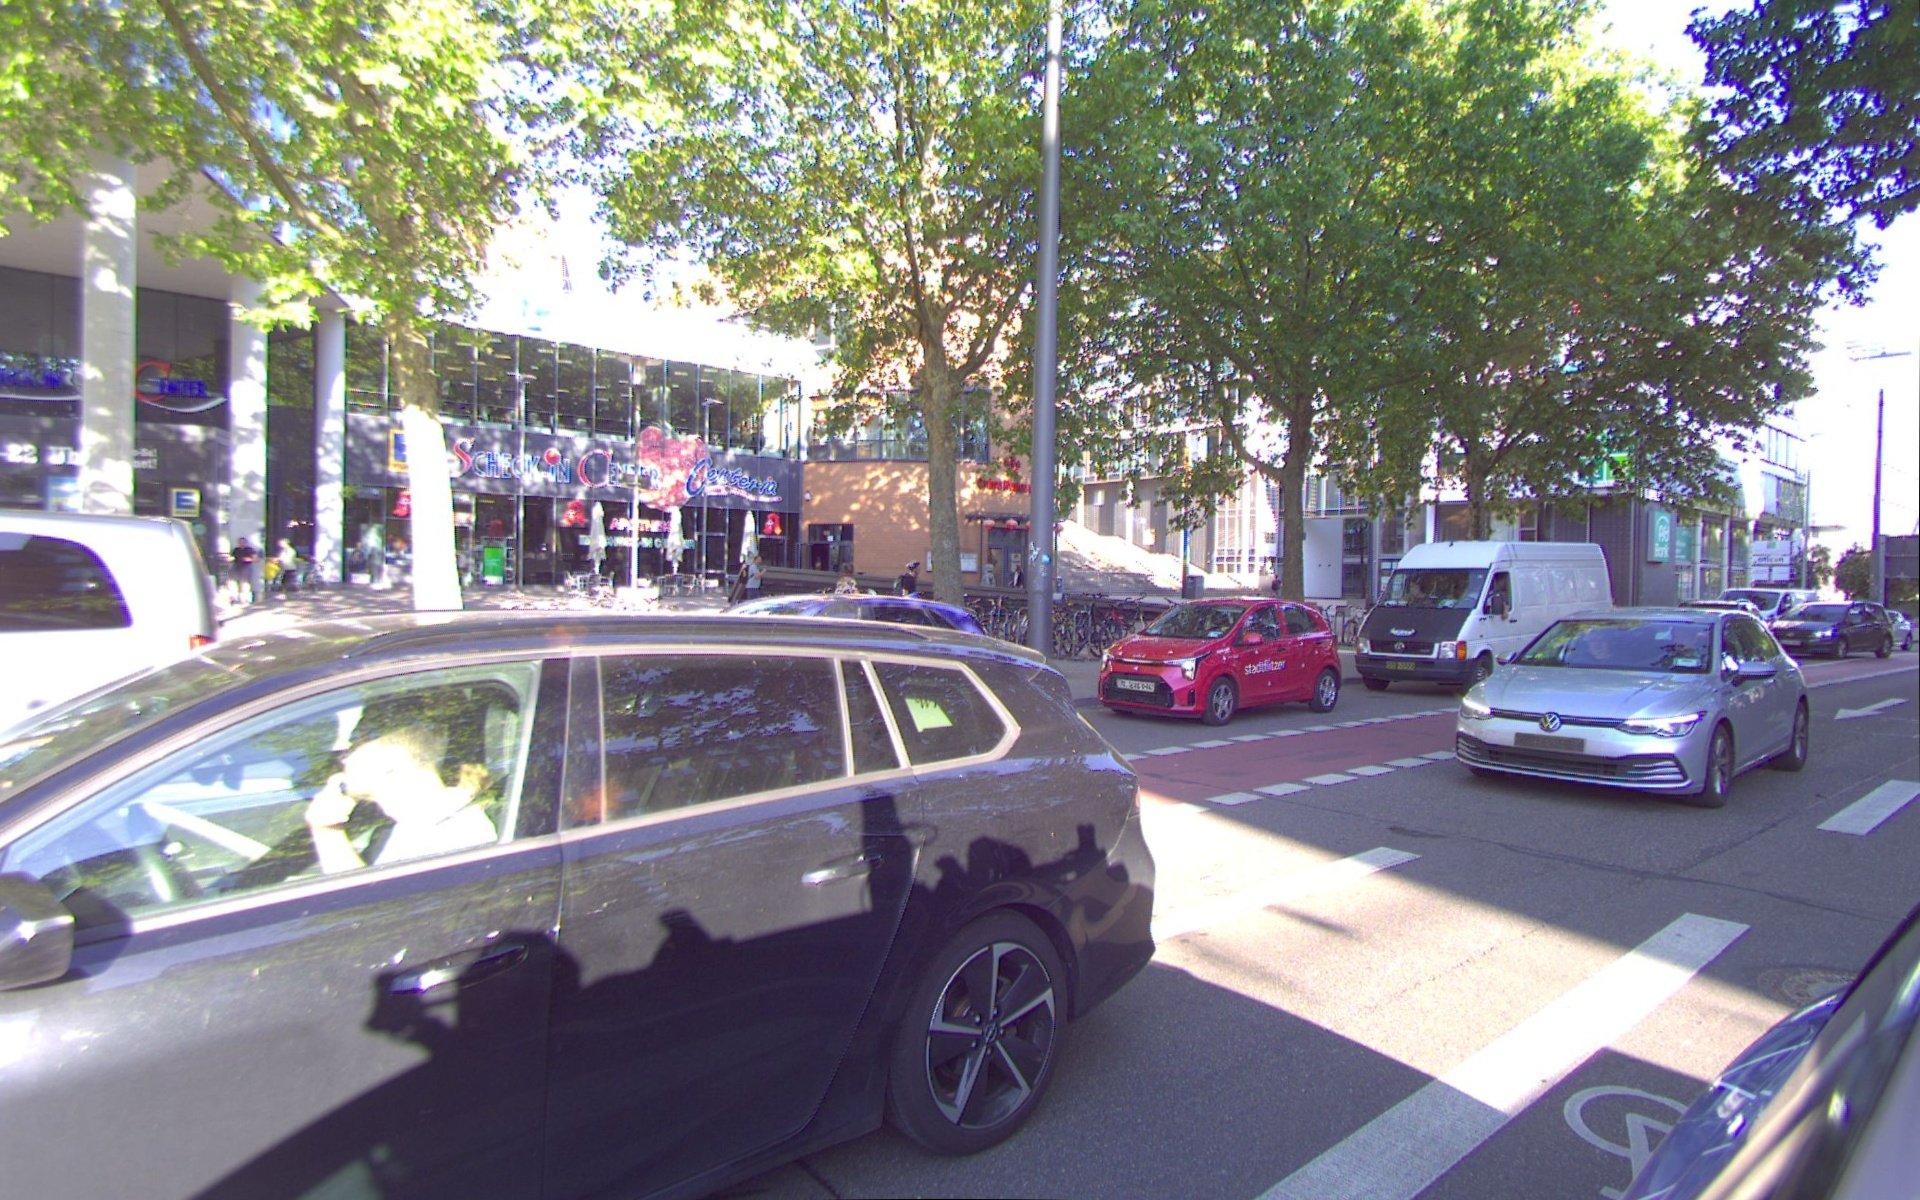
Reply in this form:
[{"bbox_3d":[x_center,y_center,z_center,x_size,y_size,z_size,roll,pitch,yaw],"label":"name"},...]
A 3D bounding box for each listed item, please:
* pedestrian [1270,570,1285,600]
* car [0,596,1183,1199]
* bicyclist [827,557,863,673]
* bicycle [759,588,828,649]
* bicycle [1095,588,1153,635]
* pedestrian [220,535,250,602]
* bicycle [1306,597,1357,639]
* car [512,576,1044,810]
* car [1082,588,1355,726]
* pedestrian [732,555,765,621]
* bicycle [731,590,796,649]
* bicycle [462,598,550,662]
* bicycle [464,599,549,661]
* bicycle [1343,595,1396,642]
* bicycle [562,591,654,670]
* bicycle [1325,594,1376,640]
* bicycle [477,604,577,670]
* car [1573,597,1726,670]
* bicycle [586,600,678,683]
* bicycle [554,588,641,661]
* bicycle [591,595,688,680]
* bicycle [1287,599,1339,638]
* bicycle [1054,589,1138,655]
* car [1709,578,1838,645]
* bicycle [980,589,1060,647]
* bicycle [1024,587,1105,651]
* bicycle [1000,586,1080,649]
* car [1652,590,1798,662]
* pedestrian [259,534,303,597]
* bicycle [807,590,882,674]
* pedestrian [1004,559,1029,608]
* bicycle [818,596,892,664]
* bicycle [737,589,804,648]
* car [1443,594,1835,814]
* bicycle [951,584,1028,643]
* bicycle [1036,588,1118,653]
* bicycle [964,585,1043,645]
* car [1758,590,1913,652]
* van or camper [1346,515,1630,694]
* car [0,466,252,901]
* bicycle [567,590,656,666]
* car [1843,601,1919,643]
[{"bbox_3d":[16.890,-0.822,53.831,0.707,1.578,0.638,1,1,14],"label":"pedestrian"},{"bbox_3d":[-1.450,0.709,2.440,4.196,1.432,1.742,0,0,-41],"label":"car"},{"bbox_3d":[-1.796,0.227,15.817,0.392,1.782,0.390,0,1,-41],"label":"bicyclist"},{"bbox_3d":[-3.100,0.332,18.846,1.202,1.110,0.427,0,1,-40],"label":"bicycle"},{"bbox_3d":[4.393,0.306,27.069,1.759,1.209,0.517,0,2,-41],"label":"bicycle"},{"bbox_3d":[-18.687,-0.803,26.096,0.506,1.707,0.604,1,1,-23],"label":"pedestrian"},{"bbox_3d":[10.311,0.491,28.046,1.766,1.108,0.522,0,2,-41],"label":"bicycle"},{"bbox_3d":[-1.371,0.590,8.658,4.177,1.503,1.742,0,2,-41],"label":"car"},{"bbox_3d":[3.354,0.609,12.829,3.588,1.476,1.605,0,1,-41],"label":"car"},{"bbox_3d":[-5.879,-0.331,28.119,0.869,1.805,0.604,1,1,-11],"label":"pedestrian"},{"bbox_3d":[-3.885,0.373,20.051,1.202,1.110,0.429,0,1,-40],"label":"bicycle"},{"bbox_3d":[-6.956,0.454,15.545,1.198,0.930,0.442,1,1,-22],"label":"bicycle"},{"bbox_3d":[-7.118,0.464,15.923,1.198,0.938,0.465,1,1,-22],"label":"bicycle"},{"bbox_3d":[11.035,0.479,27.235,1.818,1.209,0.521,0,2,-41],"label":"bicycle"},{"bbox_3d":[-5.155,0.425,14.842,1.202,1.110,0.396,0,1,-40],"label":"bicycle"},{"bbox_3d":[10.668,0.448,27.633,1.818,1.209,0.495,0,1,-41],"label":"bicycle"},{"bbox_3d":[-6.236,0.519,14.598,1.231,0.898,0.462,0,1,-40],"label":"bicycle"},{"bbox_3d":[15.162,0.678,22.190,3.927,1.446,1.683,0,1,-38],"label":"car"},{"bbox_3d":[-4.578,0.565,14.183,1.202,1.110,0.269,0,1,-40],"label":"bicycle"},{"bbox_3d":[-5.821,0.376,16.292,0.414,1.110,1.269,2,1,41],"label":"bicycle"},{"bbox_3d":[-4.399,0.495,13.917,1.202,1.110,0.413,0,1,-40],"label":"bicycle"},{"bbox_3d":[9.928,0.506,28.456,1.818,1.046,0.515,0,2,-41],"label":"bicycle"},{"bbox_3d":[2.624,0.399,19.367,1.818,1.209,0.481,0,1,-41],"label":"bicycle"},{"bbox_3d":[26.424,0.345,32.827,4.863,2.020,1.968,0,1,-35],"label":"car"},{"bbox_3d":[1.258,0.352,20.971,1.818,1.139,0.484,0,2,-41],"label":"bicycle"},{"bbox_3d":[2.113,0.363,20.261,1.818,1.209,0.484,0,1,-41],"label":"bicycle"},{"bbox_3d":[1.631,0.340,20.522,1.818,1.209,0.447,0,1,-41],"label":"bicycle"},{"bbox_3d":[19.151,0.592,25.279,4.148,1.640,1.819,0,1,-36],"label":"car"},{"bbox_3d":[-18.900,-0.960,28.180,0.797,1.728,0.712,1,1,23],"label":"pedestrian"},{"bbox_3d":[-1.800,0.481,15.809,1.126,1.271,0.379,0,1,-41],"label":"bicycle"},{"bbox_3d":[2.413,-0.698,43.228,0.575,2.062,0.876,1,1,-35],"label":"pedestrian"},{"bbox_3d":[-1.768,0.489,17.119,1.202,1.110,0.420,0,1,-40],"label":"bicycle"},{"bbox_3d":[-3.640,0.344,19.508,1.202,1.110,0.444,0,1,-40],"label":"bicycle"},{"bbox_3d":[5.908,0.688,8.638,3.928,1.458,1.733,0,0,-39],"label":"car"},{"bbox_3d":[0.639,0.272,21.703,1.818,1.209,0.434,0,1,-41],"label":"bicycle"},{"bbox_3d":[2.301,0.389,19.753,1.818,1.209,0.448,0,1,-41],"label":"bicycle"},{"bbox_3d":[0.937,0.297,21.350,1.818,1.209,0.458,0,1,-41],"label":"bicycle"},{"bbox_3d":[25.246,0.580,29.163,4.242,1.640,1.970,0,1,-28],"label":"car"},{"bbox_3d":[9.357,0.057,17.600,6.456,2.611,1.998,0,0,-39],"label":"van or camper"},{"bbox_3d":[-6.212,0.358,4.364,5.008,2.004,1.940,0,2,-41],"label":"car"},{"bbox_3d":[-5.357,0.407,15.590,0.372,1.110,1.269,2,1,41],"label":"bicycle"},{"bbox_3d":[33.523,0.749,36.520,3.927,1.394,1.802,0,2,-38],"label":"car"}]
